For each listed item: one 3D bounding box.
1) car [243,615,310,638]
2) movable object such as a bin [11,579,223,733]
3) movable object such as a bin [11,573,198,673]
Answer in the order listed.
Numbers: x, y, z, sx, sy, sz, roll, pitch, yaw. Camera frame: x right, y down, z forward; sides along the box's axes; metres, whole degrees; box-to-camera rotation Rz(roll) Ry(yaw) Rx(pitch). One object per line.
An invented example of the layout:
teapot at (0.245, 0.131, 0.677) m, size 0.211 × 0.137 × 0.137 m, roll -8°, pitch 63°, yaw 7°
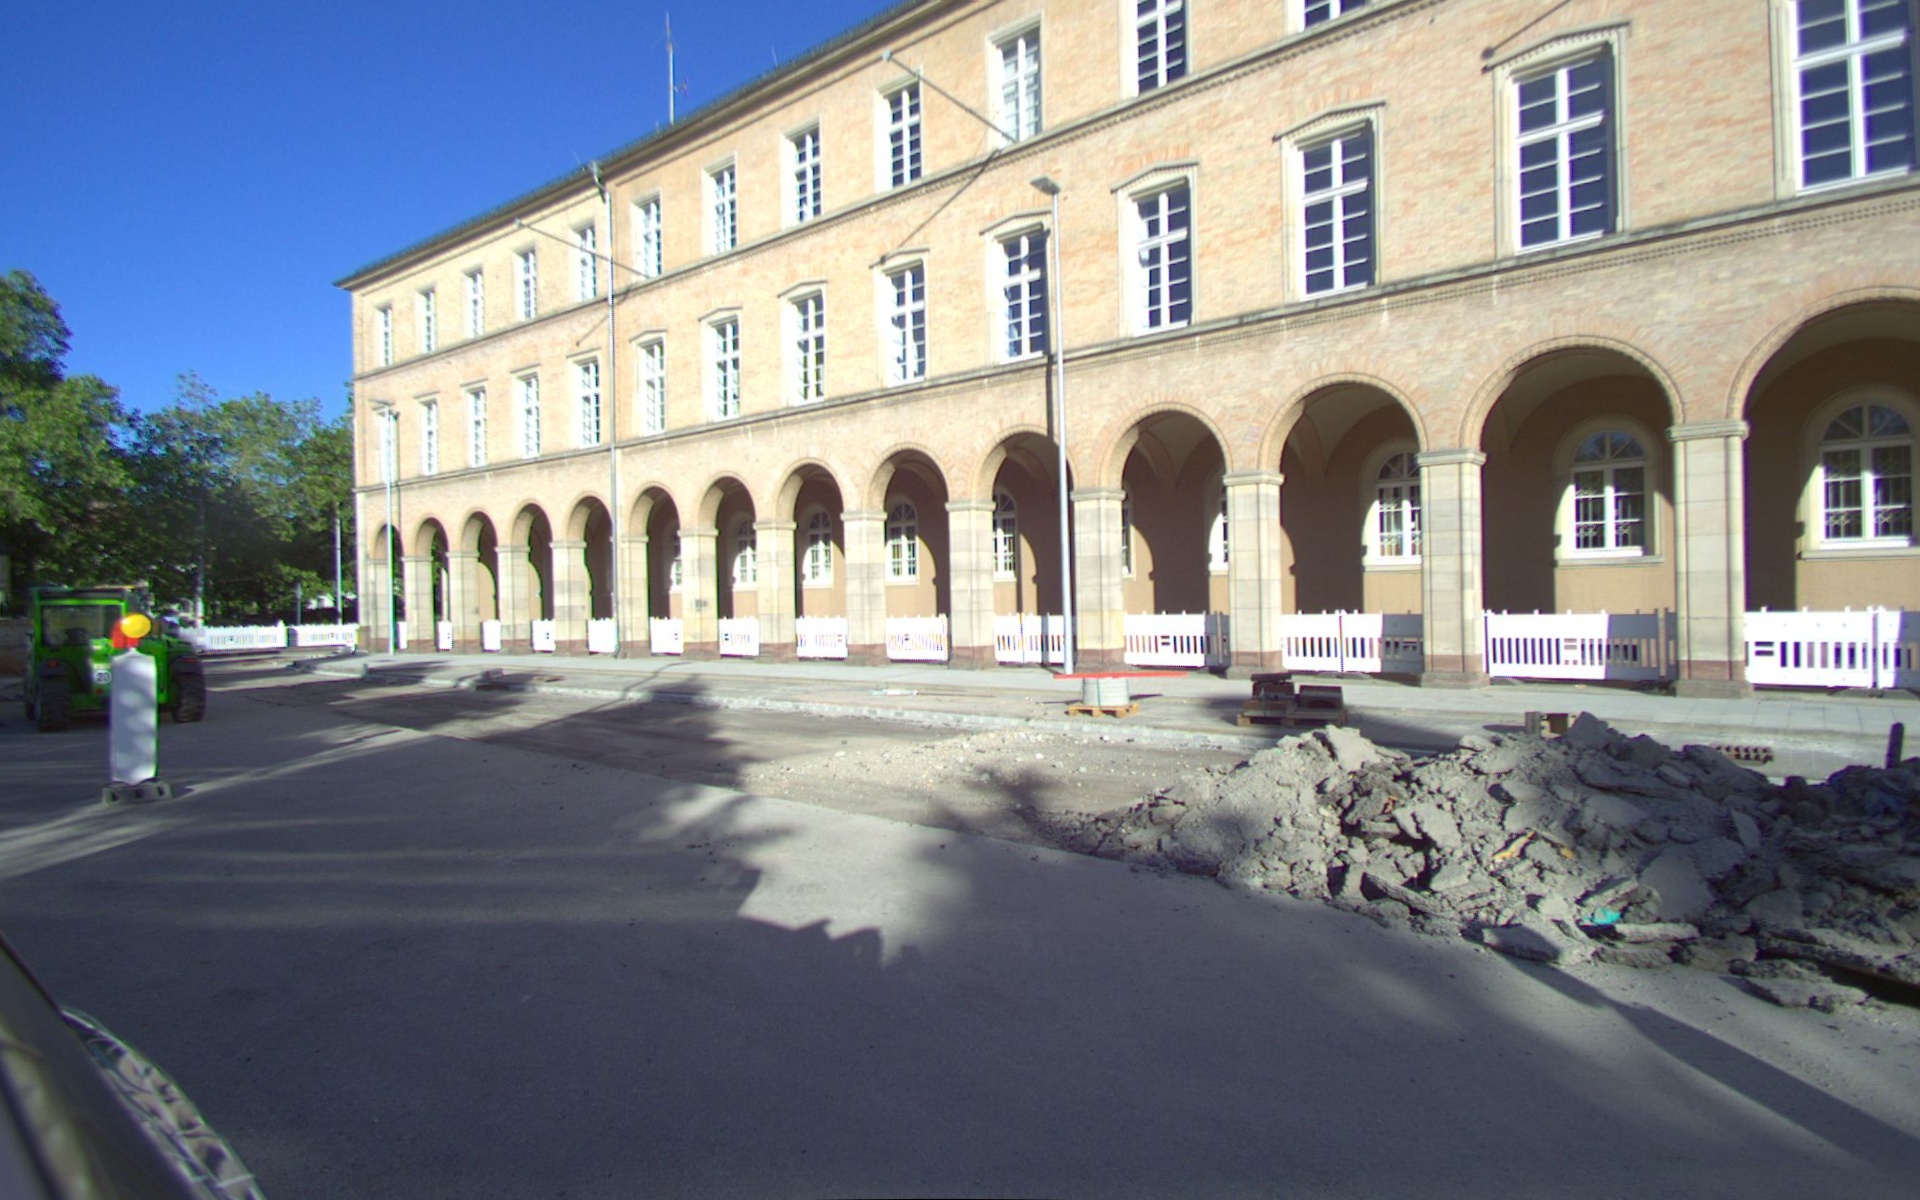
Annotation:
car at (-52.340, 2.015, 77.587) m, size 1.548 × 1.638 × 3.957 m, roll -3°, pitch -2°, yaw 31°
movable object such as a bin at (-12.715, 0.788, 15.159) m, size 4.336 × 1.964 × 2.027 m, roll -3°, pitch -2°, yaw 45°
movable object such as a bin at (-28.593, 0.698, 34.171) m, size 2.524 × 3.054 × 5.948 m, roll 0°, pitch 0°, yaw -15°
